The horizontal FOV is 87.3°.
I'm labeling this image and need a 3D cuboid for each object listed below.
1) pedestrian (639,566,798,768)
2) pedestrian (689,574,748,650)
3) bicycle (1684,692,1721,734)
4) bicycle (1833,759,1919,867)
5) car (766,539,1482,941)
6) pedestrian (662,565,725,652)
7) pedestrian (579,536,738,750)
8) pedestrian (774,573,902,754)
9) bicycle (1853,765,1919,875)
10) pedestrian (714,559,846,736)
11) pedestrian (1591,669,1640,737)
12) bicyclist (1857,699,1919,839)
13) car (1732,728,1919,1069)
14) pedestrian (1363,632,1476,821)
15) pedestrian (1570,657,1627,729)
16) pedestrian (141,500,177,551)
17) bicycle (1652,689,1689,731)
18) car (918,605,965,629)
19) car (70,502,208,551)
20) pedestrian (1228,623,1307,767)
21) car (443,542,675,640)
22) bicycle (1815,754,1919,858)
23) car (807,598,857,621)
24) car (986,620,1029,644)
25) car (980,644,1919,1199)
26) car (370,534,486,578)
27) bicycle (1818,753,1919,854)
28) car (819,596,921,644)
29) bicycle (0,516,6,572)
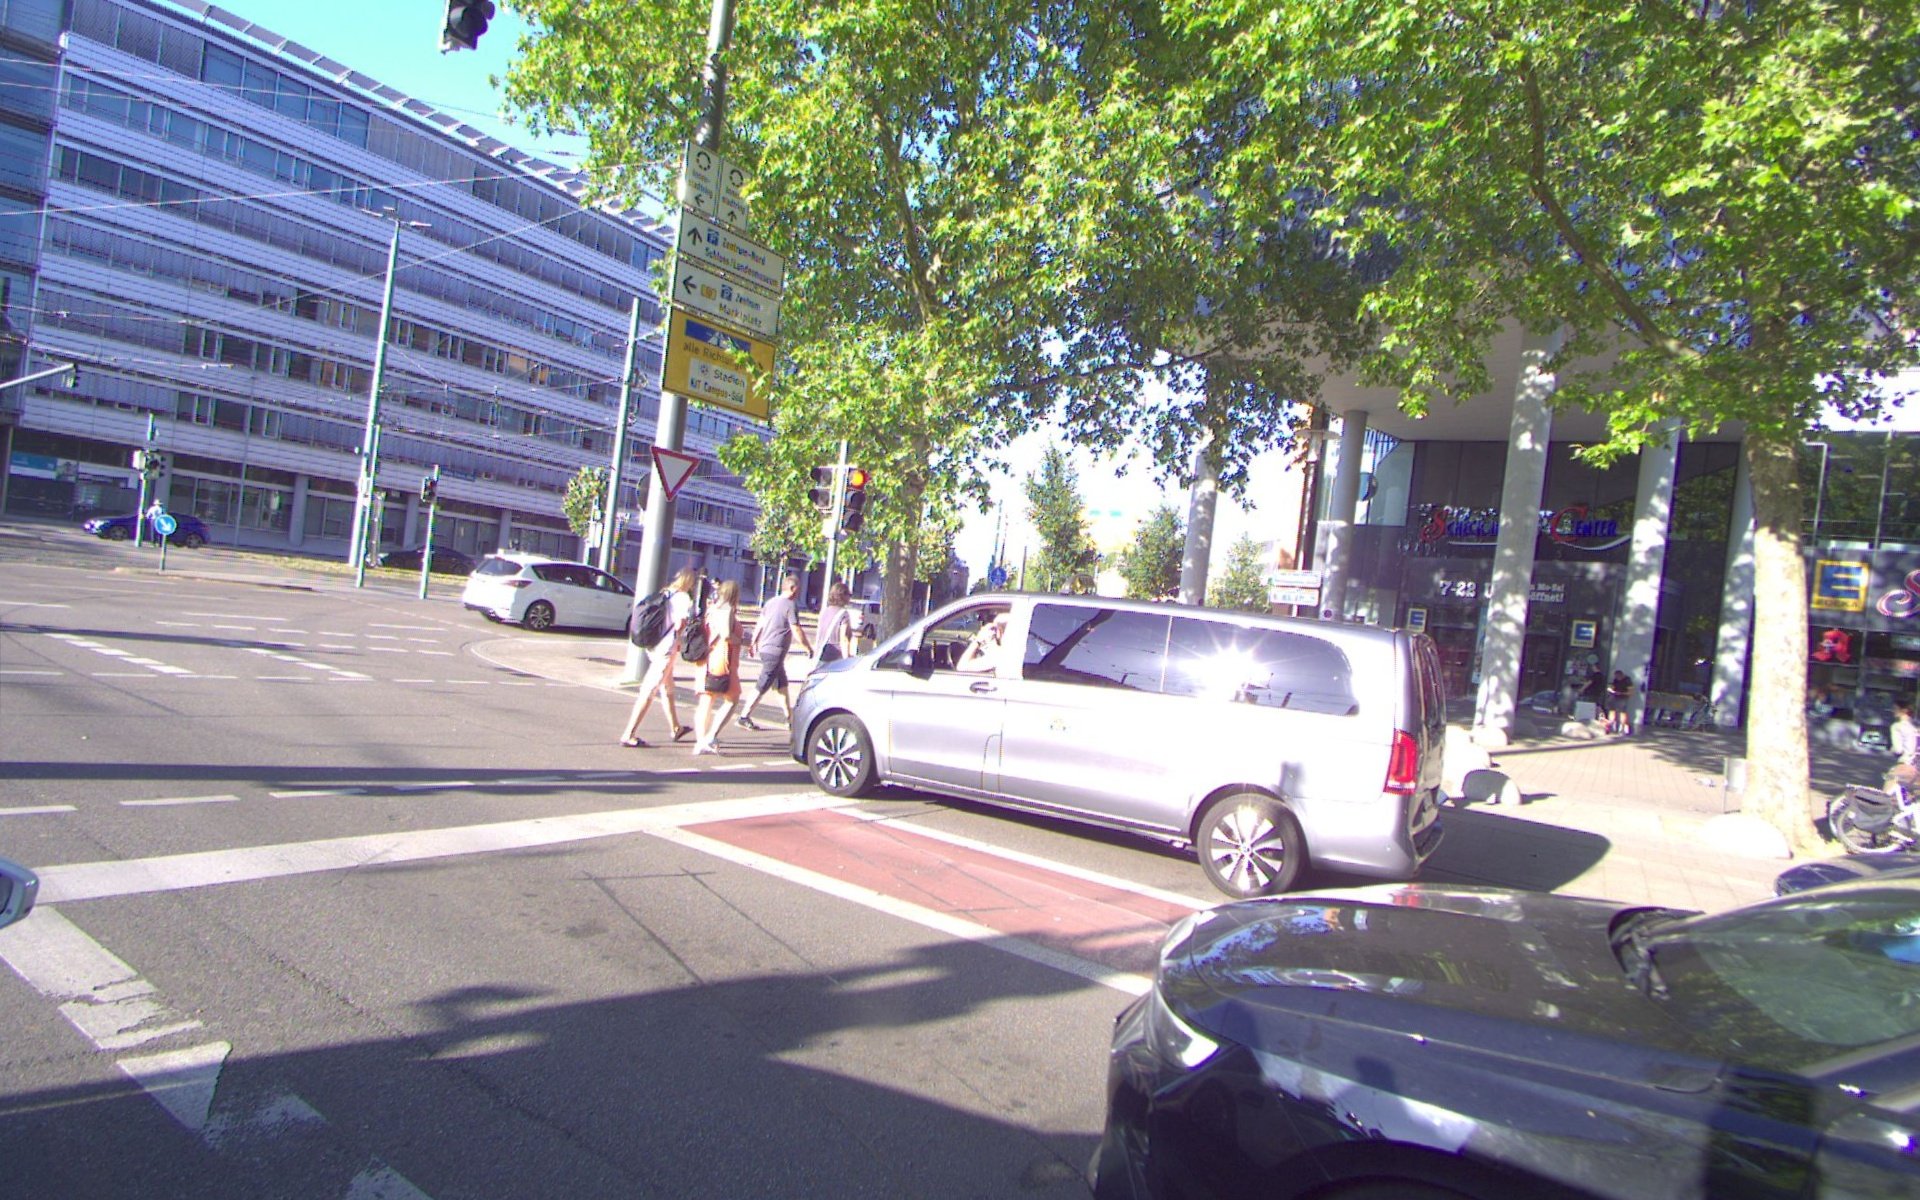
[{"bbox_3d":[-2.232,0.620,9.406,0.744,1.701,1.076,7,-1,25],"label":"pedestrian"},{"bbox_3d":[-5.812,0.289,24.220,0.855,1.701,0.845,7,-1,39],"label":"pedestrian"},{"bbox_3d":[22.508,3.414,30.487,0.709,1.142,1.912,7,0,39],"label":"bicycle"},{"bbox_3d":[10.728,2.421,11.055,1.545,1.038,0.461,7,1,29],"label":"bicycle"},{"bbox_3d":[1.132,0.825,7.987,5.053,1.988,1.997,7,-2,32],"label":"car"},{"bbox_3d":[-6.131,0.201,23.134,0.855,1.841,0.845,7,-1,39],"label":"pedestrian"},{"bbox_3d":[-2.886,0.422,9.724,0.725,1.893,1.076,7,-1,25],"label":"pedestrian"},{"bbox_3d":[-1.329,0.706,11.139,0.744,1.827,1.075,7,-1,25],"label":"pedestrian"},{"bbox_3d":[10.464,2.396,10.504,1.545,1.038,0.461,7,1,29],"label":"bicycle"},{"bbox_3d":[-2.108,0.568,11.919,0.818,1.916,1.149,7,-1,25],"label":"pedestrian"},{"bbox_3d":[17.486,2.729,26.862,0.851,1.662,0.967,7,1,28],"label":"pedestrian"},{"bbox_3d":[13.154,2.323,13.781,0.740,1.790,0.850,6,1,-12],"label":"bicyclist"},{"bbox_3d":[6.427,1.712,4.710,4.147,1.482,1.767,7,0,32],"label":"car"},{"bbox_3d":[4.849,1.298,10.592,0.795,1.808,0.873,7,1,31],"label":"pedestrian"},{"bbox_3d":[18.106,2.631,28.533,0.990,1.867,0.844,6,1,-33],"label":"pedestrian"},{"bbox_3d":[-28.670,-2.669,36.009,0.549,1.701,0.719,7,-1,39],"label":"pedestrian"},{"bbox_3d":[21.863,3.378,30.957,0.709,1.142,1.912,7,0,39],"label":"bicycle"},{"bbox_3d":[-1.655,1.531,91.126,3.970,1.631,1.740,7,0,-40],"label":"car"},{"bbox_3d":[-33.935,-3.023,41.679,1.945,1.364,3.989,7,0,35],"label":"car"},{"bbox_3d":[4.044,1.237,13.195,0.617,1.735,1.076,7,-1,28],"label":"pedestrian"},{"bbox_3d":[-9.412,-0.130,24.060,1.967,1.748,4.841,7,-1,31],"label":"car"},{"bbox_3d":[11.191,2.488,12.055,0.393,1.038,1.305,6,1,-42],"label":"bicycle"},{"bbox_3d":[-10.313,0.780,81.069,1.731,1.415,3.990,7,0,33],"label":"car"},{"bbox_3d":[4.194,2.838,88.382,1.966,1.682,3.992,7,0,31],"label":"car"},{"bbox_3d":[2.370,1.116,1.797,4.274,1.441,1.826,7,-2,32],"label":"car"},{"bbox_3d":[-24.123,-1.967,45.733,1.768,1.409,4.241,7,0,36],"label":"car"},{"bbox_3d":[11.529,2.530,12.406,0.393,1.038,1.305,6,1,-42],"label":"bicycle"},{"bbox_3d":[-3.517,0.807,39.949,1.797,1.451,3.910,7,-1,35],"label":"car"},{"bbox_3d":[-11.731,-0.451,10.631,1.055,1.241,2.158,8,0,35],"label":"bicycle"}]
